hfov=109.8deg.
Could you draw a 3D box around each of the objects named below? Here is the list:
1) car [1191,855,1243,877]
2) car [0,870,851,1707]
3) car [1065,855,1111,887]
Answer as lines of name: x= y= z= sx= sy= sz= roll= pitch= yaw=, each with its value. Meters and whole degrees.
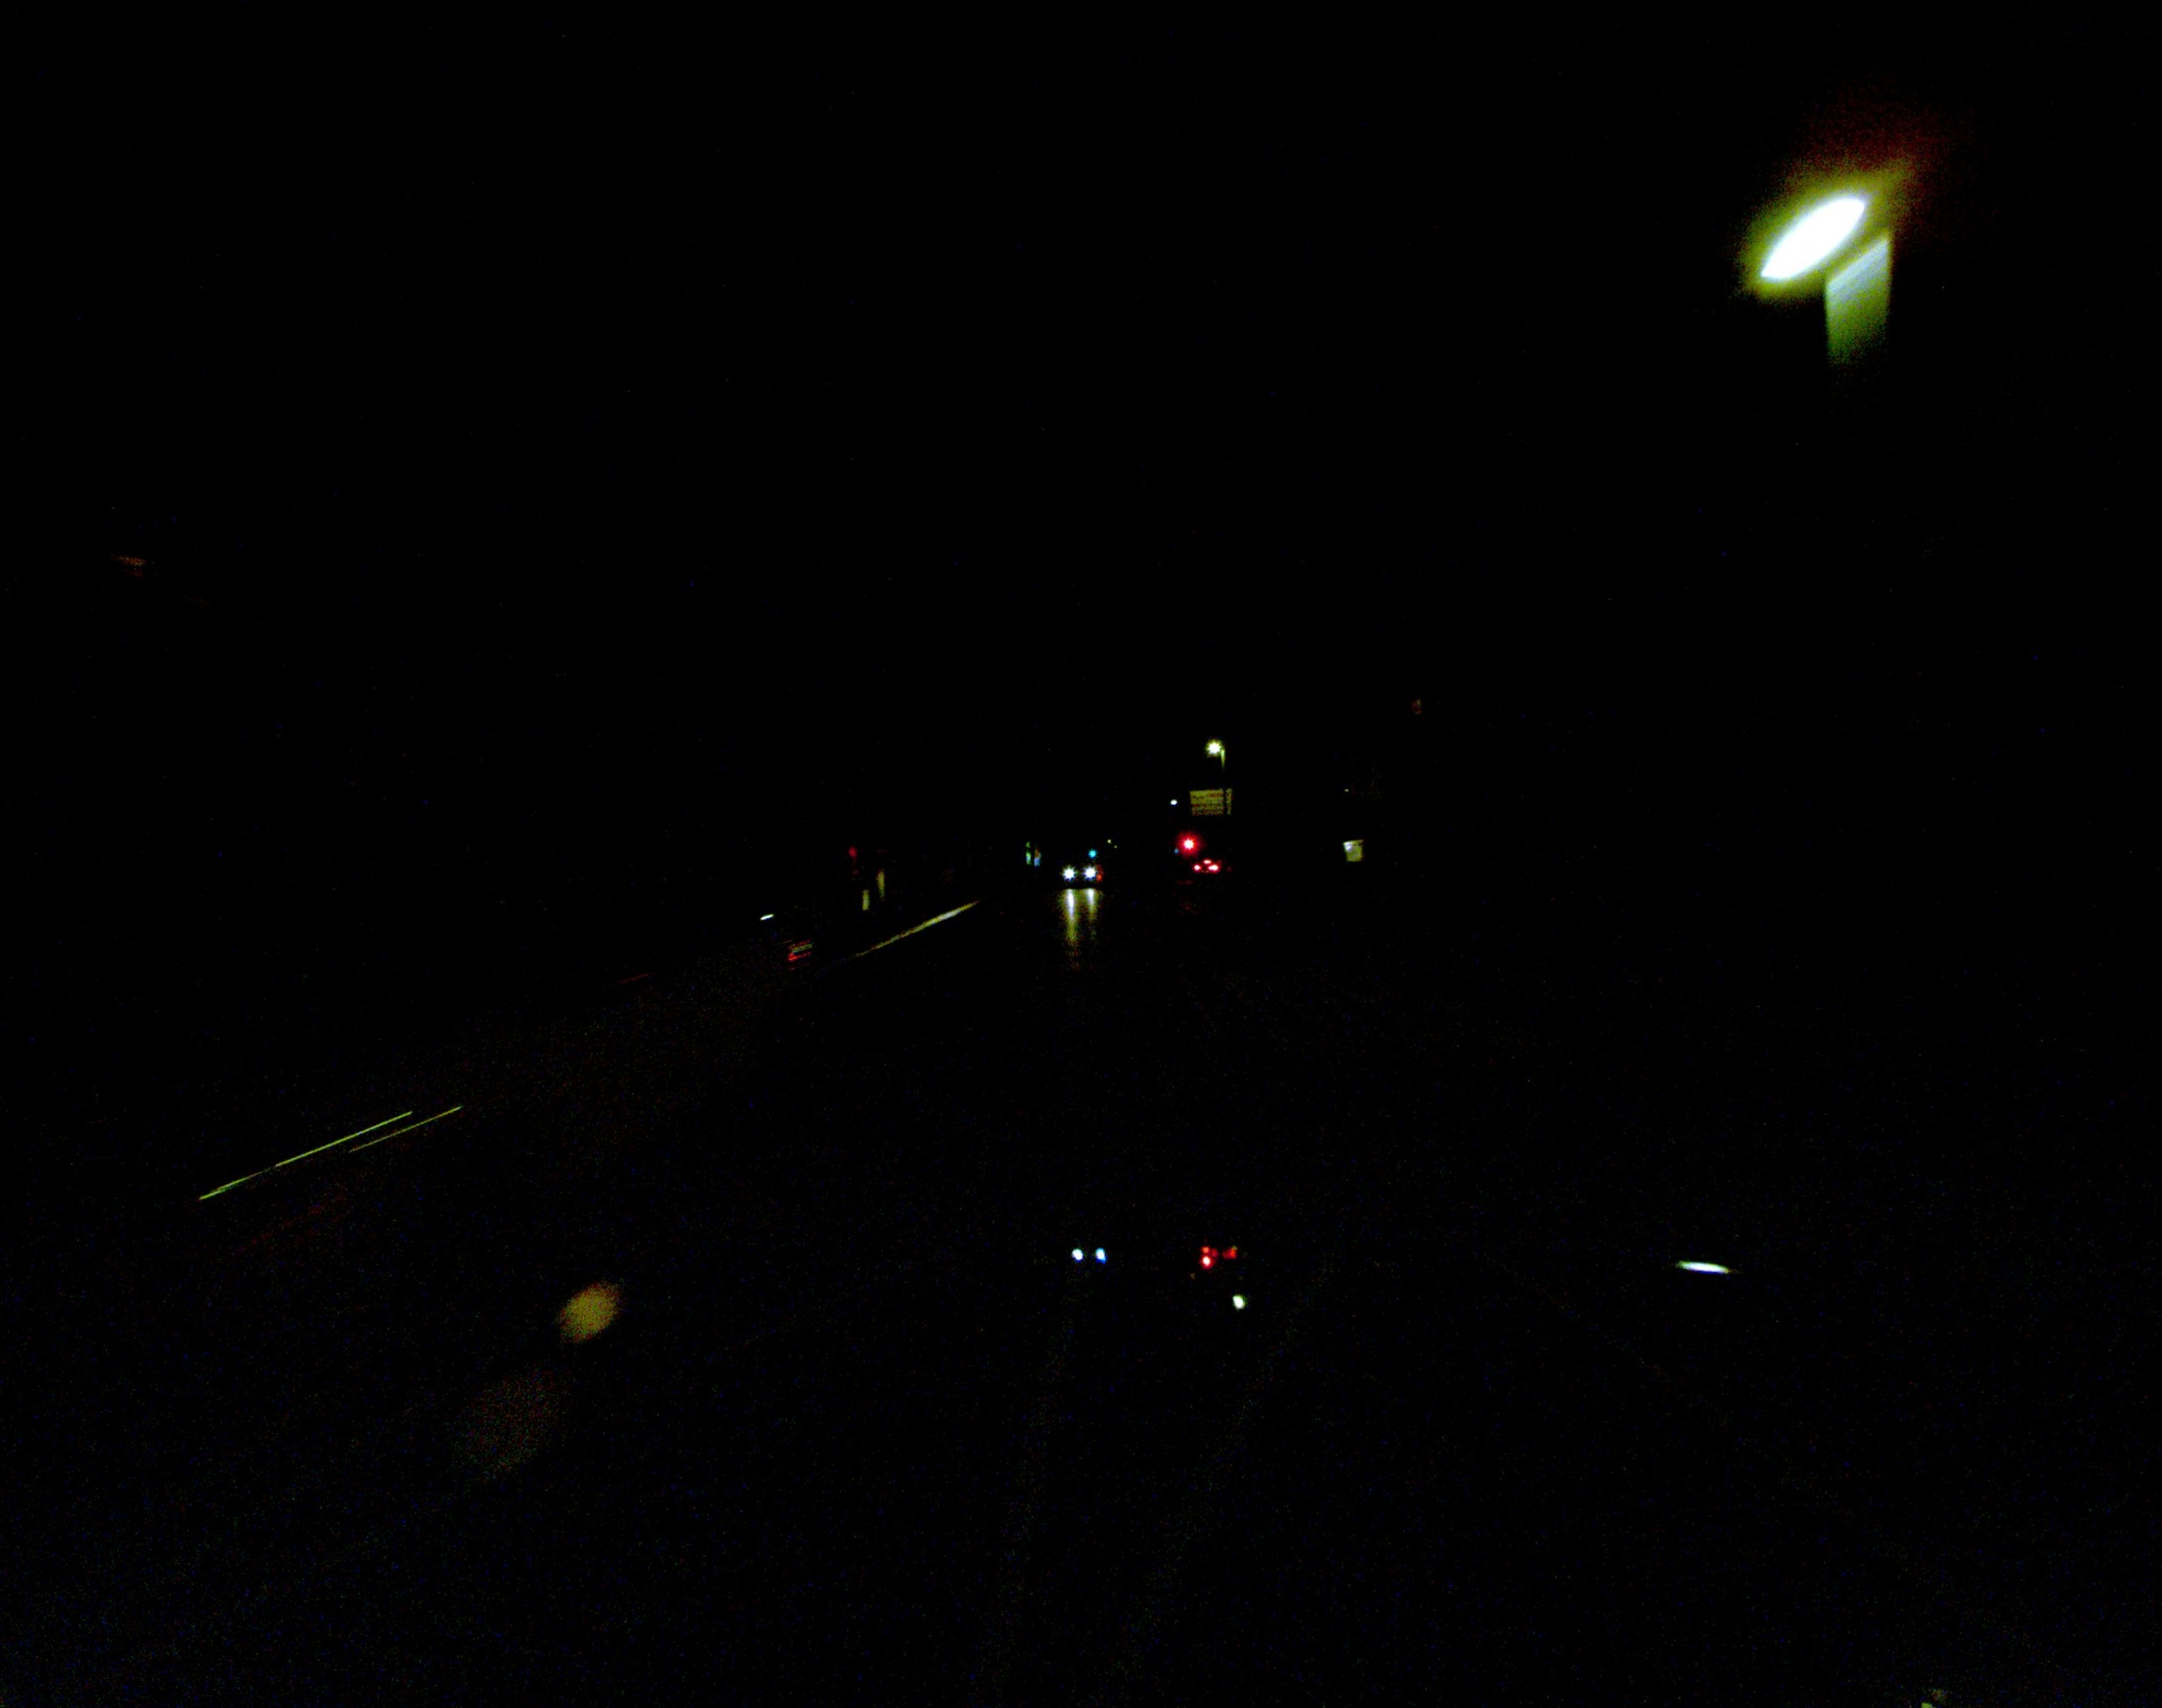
car: x=9.400 y=0.825 z=52.300 sx=1.726 sy=1.421 sz=4.299 roll=-1 pitch=-1 yaw=38
car: x=-2.892 y=0.993 z=3.904 sx=1.759 sy=1.584 sz=4.728 roll=-4 pitch=0 yaw=2
car: x=0.399 y=0.834 z=39.067 sx=1.511 sy=1.492 sz=3.053 roll=-2 pitch=0 yaw=17
